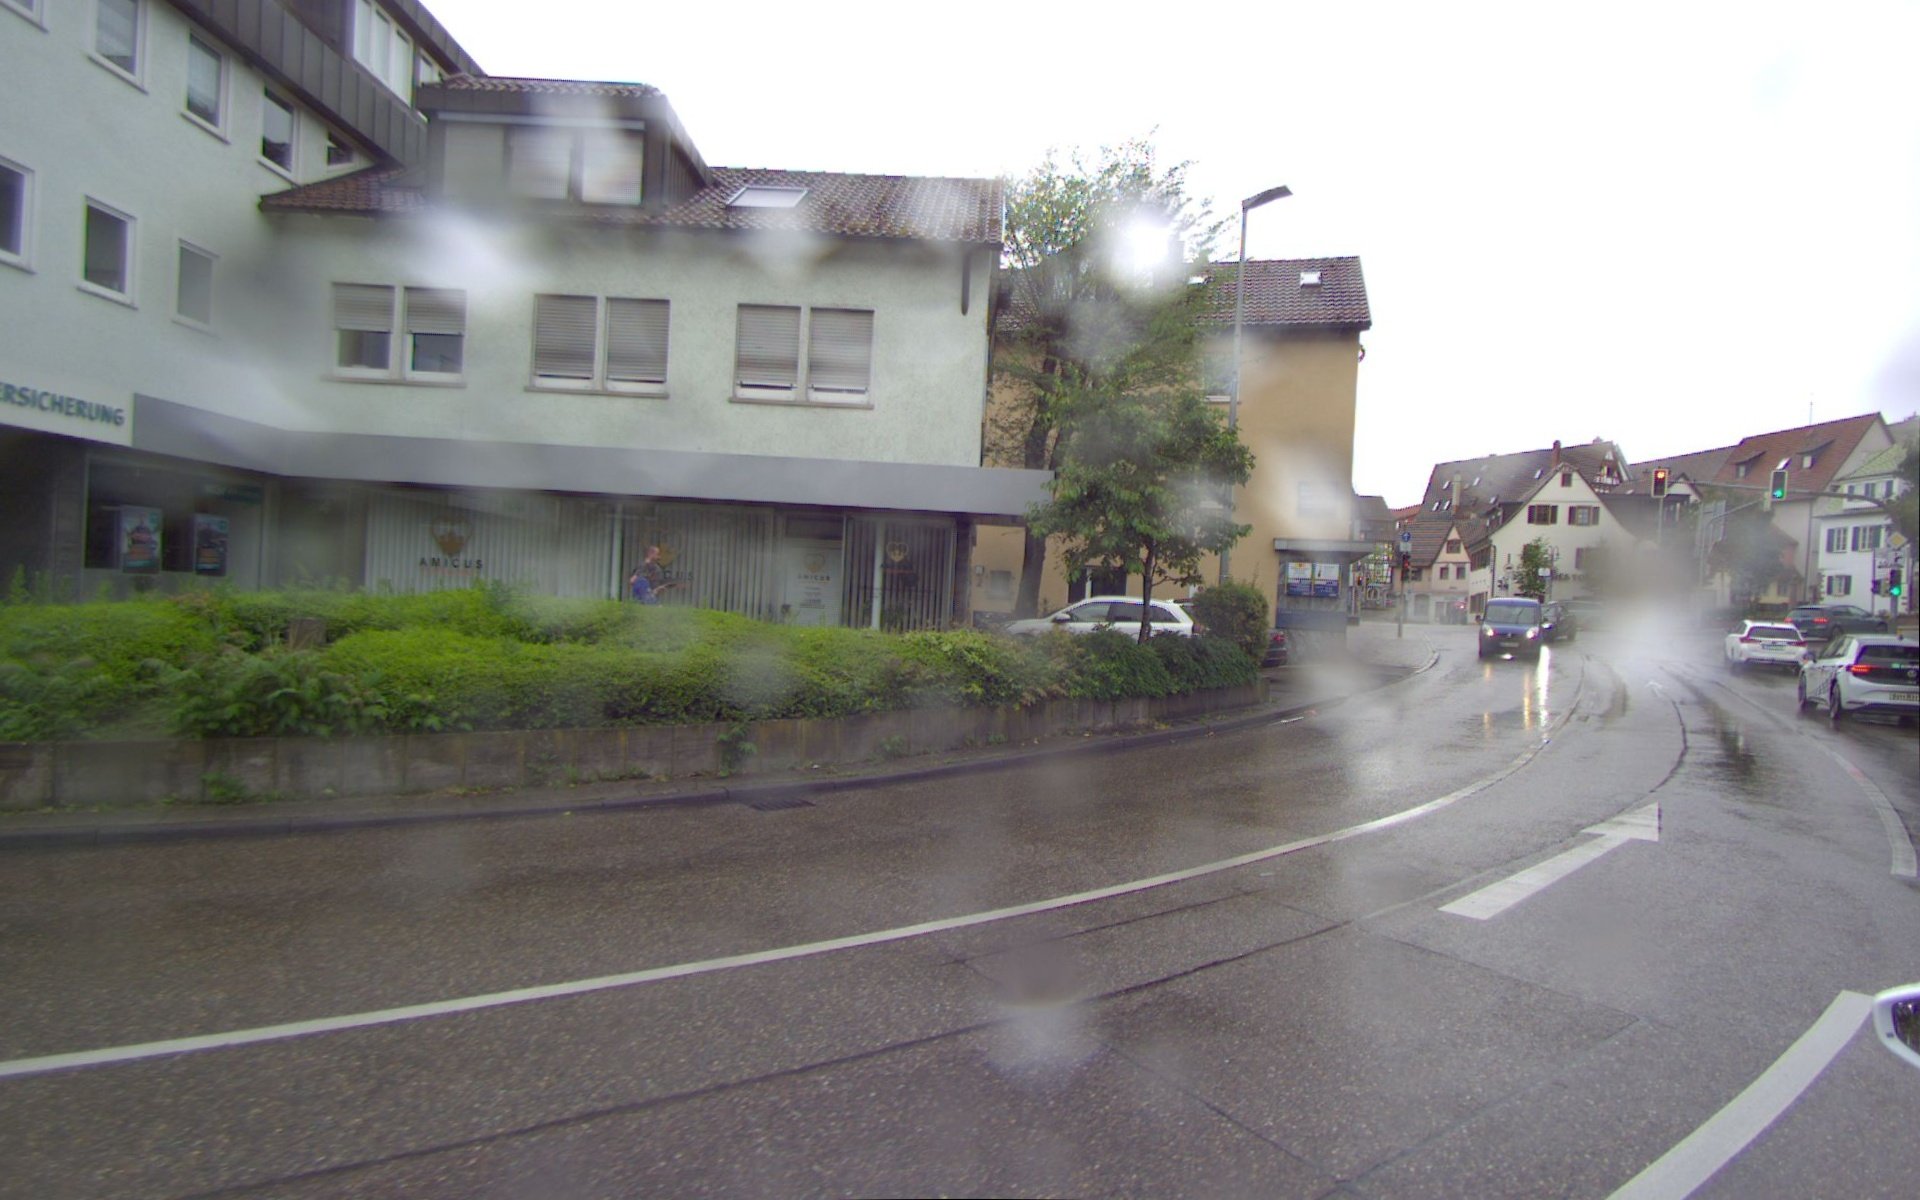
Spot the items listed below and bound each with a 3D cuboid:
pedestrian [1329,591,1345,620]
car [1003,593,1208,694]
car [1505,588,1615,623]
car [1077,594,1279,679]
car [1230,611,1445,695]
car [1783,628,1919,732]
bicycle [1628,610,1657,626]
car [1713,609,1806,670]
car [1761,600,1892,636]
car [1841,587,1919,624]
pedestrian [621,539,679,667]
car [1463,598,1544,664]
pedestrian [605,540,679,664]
[{"bbox_3d":[25.042,0.368,66.686,0.783,1.855,0.714,-1,1,3],"label":"pedestrian"},{"bbox_3d":[2.704,0.769,19.022,3.572,1.650,2.001,2,0,7],"label":"car"},{"bbox_3d":[30.097,0.265,50.521,4.390,1.612,2.000,1,1,19],"label":"car"},{"bbox_3d":[5.611,0.920,25.986,4.836,1.850,1.963,-3,1,15],"label":"car"},{"bbox_3d":[7.697,1.046,20.860,3.919,1.473,1.901,1,1,13],"label":"car"},{"bbox_3d":[16.740,1.383,18.476,1.830,1.492,3.991,-2,1,30],"label":"car"},{"bbox_3d":[41.532,1.105,61.107,1.441,0.924,0.392,2,4,1],"label":"bicycle"},{"bbox_3d":[24.378,1.136,30.757,1.860,1.617,4.312,2,2,34],"label":"car"},{"bbox_3d":[34.590,0.710,40.139,3.931,1.319,1.995,1,1,-13],"label":"car"},{"bbox_3d":[43.809,0.272,46.105,4.655,1.609,1.830,1,1,19],"label":"car"},{"bbox_3d":[-4.632,0.040,15.038,0.660,1.844,0.617,2,1,-5],"label":"pedestrian"},{"bbox_3d":[17.666,0.927,32.827,1.962,1.907,4.374,1,1,25],"label":"car"},{"bbox_3d":[-4.542,0.026,14.381,0.846,1.694,0.617,2,1,-5],"label":"pedestrian"}]
